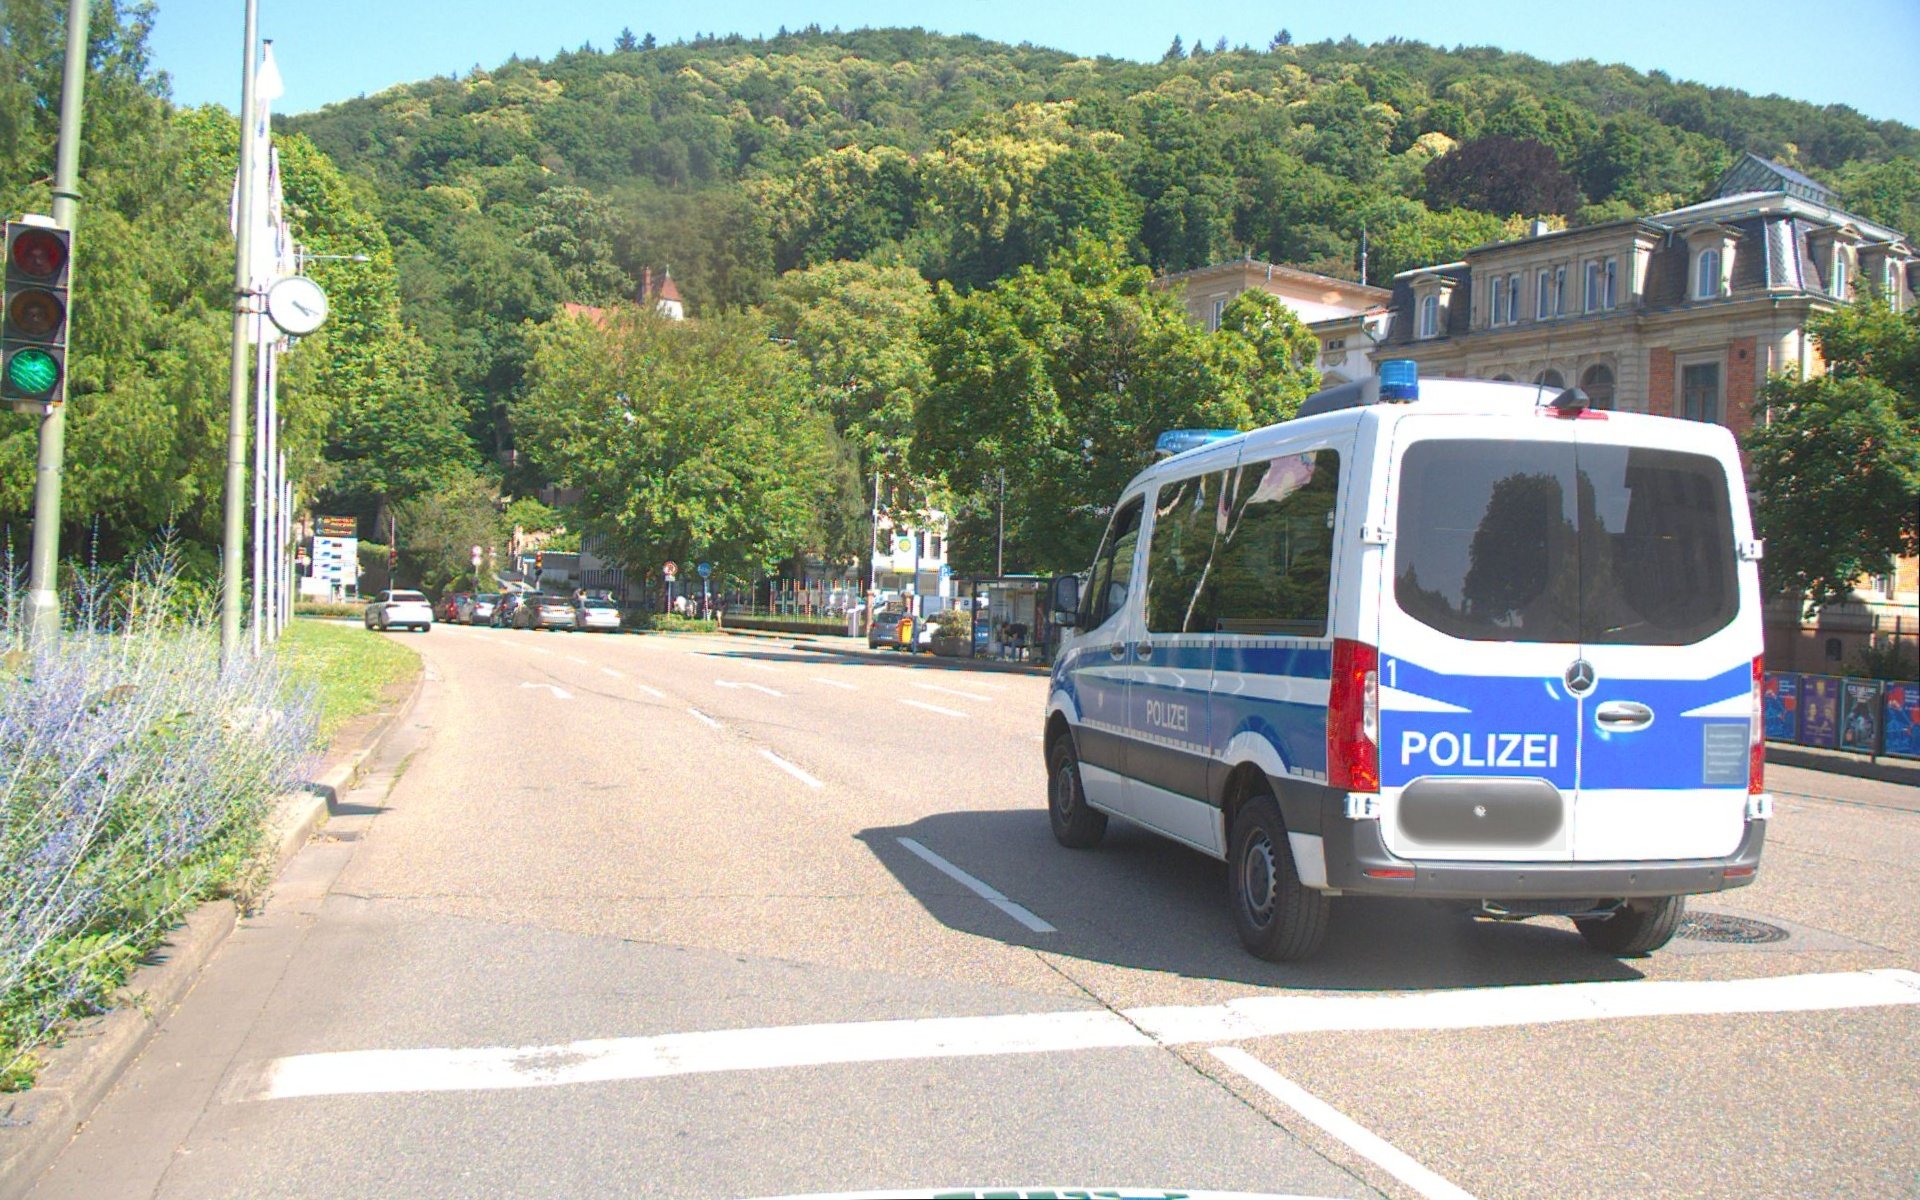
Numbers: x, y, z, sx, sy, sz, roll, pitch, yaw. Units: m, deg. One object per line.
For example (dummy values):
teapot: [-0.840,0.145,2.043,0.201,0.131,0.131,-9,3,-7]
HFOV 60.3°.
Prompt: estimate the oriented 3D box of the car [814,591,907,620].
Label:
car: [-5.097,0.271,85.057,4.416,1.359,1.804,1,0,-29]

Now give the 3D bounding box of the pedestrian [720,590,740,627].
pedestrian: [-12.116,0.446,87.258,0.762,1.887,0.822,2,-1,-27]

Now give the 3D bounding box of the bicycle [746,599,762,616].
bicycle: [-13.179,0.473,105.786,0.530,1.104,1.821,1,0,-24]

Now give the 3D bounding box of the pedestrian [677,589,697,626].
pedestrian: [-14.221,0.400,86.023,0.761,1.887,0.822,2,-1,-26]

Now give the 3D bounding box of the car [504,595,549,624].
car: [-24.368,0.523,92.929,1.735,1.486,3.465,2,0,-26]

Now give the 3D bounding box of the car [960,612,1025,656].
car: [1.206,1.214,59.477,1.672,1.467,3.814,2,0,11]

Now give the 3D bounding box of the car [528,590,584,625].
car: [-18.840,0.343,77.048,1.735,1.486,3.615,2,0,-26]

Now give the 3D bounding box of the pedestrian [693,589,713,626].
pedestrian: [-13.432,0.405,86.384,0.762,1.887,0.822,2,-1,-27]

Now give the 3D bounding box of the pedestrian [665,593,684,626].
pedestrian: [-15.038,0.518,87.131,0.761,1.692,0.823,2,-1,-25]

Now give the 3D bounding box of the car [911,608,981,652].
car: [-0.499,1.126,61.933,1.672,1.538,3.814,2,0,14]

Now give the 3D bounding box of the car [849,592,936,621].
car: [-3.391,0.335,83.094,4.039,1.359,1.804,1,0,-29]

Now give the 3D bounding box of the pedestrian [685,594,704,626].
pedestrian: [-13.979,0.523,87.092,0.761,1.692,0.823,2,-1,-25]

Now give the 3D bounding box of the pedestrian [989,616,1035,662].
pedestrian: [1.446,1.080,45.797,0.778,1.218,1.015,2,-1,43]

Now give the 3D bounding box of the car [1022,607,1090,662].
car: [3.286,1.140,55.992,1.672,1.725,4.278,2,0,11]

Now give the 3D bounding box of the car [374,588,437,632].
car: [-20.137,0.342,59.999,1.818,1.486,3.467,2,0,-24]

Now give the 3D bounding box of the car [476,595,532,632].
car: [-20.050,0.577,72.709,1.735,1.486,3.465,2,0,-26]

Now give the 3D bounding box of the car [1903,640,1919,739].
car: [18.109,1.578,26.581,1.802,1.655,4.818,3,0,-36]

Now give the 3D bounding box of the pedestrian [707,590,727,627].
pedestrian: [-12.777,0.436,86.852,0.762,1.887,0.822,2,-1,-27]

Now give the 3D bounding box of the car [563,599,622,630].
car: [-16.100,0.613,72.423,1.735,1.234,3.465,2,0,-26]

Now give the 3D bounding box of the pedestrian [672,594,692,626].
pedestrian: [-14.820,0.524,88.155,0.761,1.692,0.823,2,-1,-25]

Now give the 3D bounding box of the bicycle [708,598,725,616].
bicycle: [-15.437,0.427,104.810,0.530,1.104,1.821,1,0,-24]

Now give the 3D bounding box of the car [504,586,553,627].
car: [-22.126,0.333,84.766,1.735,1.972,3.465,2,0,-26]

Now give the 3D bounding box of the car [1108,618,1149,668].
car: [5.415,1.350,52.993,1.172,1.508,2.290,2,0,8]

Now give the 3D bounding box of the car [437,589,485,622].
car: [-24.812,0.261,82.191,1.735,1.486,3.465,2,0,-26]

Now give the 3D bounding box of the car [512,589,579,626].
car: [-16.947,0.294,67.510,1.737,1.357,3.764,2,0,-29]

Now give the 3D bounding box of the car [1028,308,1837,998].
car: [1.970,0.241,8.751,2.037,2.552,4.915,2,-1,-12]

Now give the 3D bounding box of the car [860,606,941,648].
car: [-2.261,1.045,63.818,1.784,1.487,4.109,2,0,18]

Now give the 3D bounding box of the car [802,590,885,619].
car: [-6.315,0.247,89.763,4.101,1.501,1.858,1,0,-31]

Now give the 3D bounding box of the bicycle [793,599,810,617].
bicycle: [-10.257,0.531,106.823,0.530,1.104,1.821,1,0,-24]

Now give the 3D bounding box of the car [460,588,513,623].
car: [-22.108,0.239,77.163,1.735,1.486,3.615,2,0,-26]
